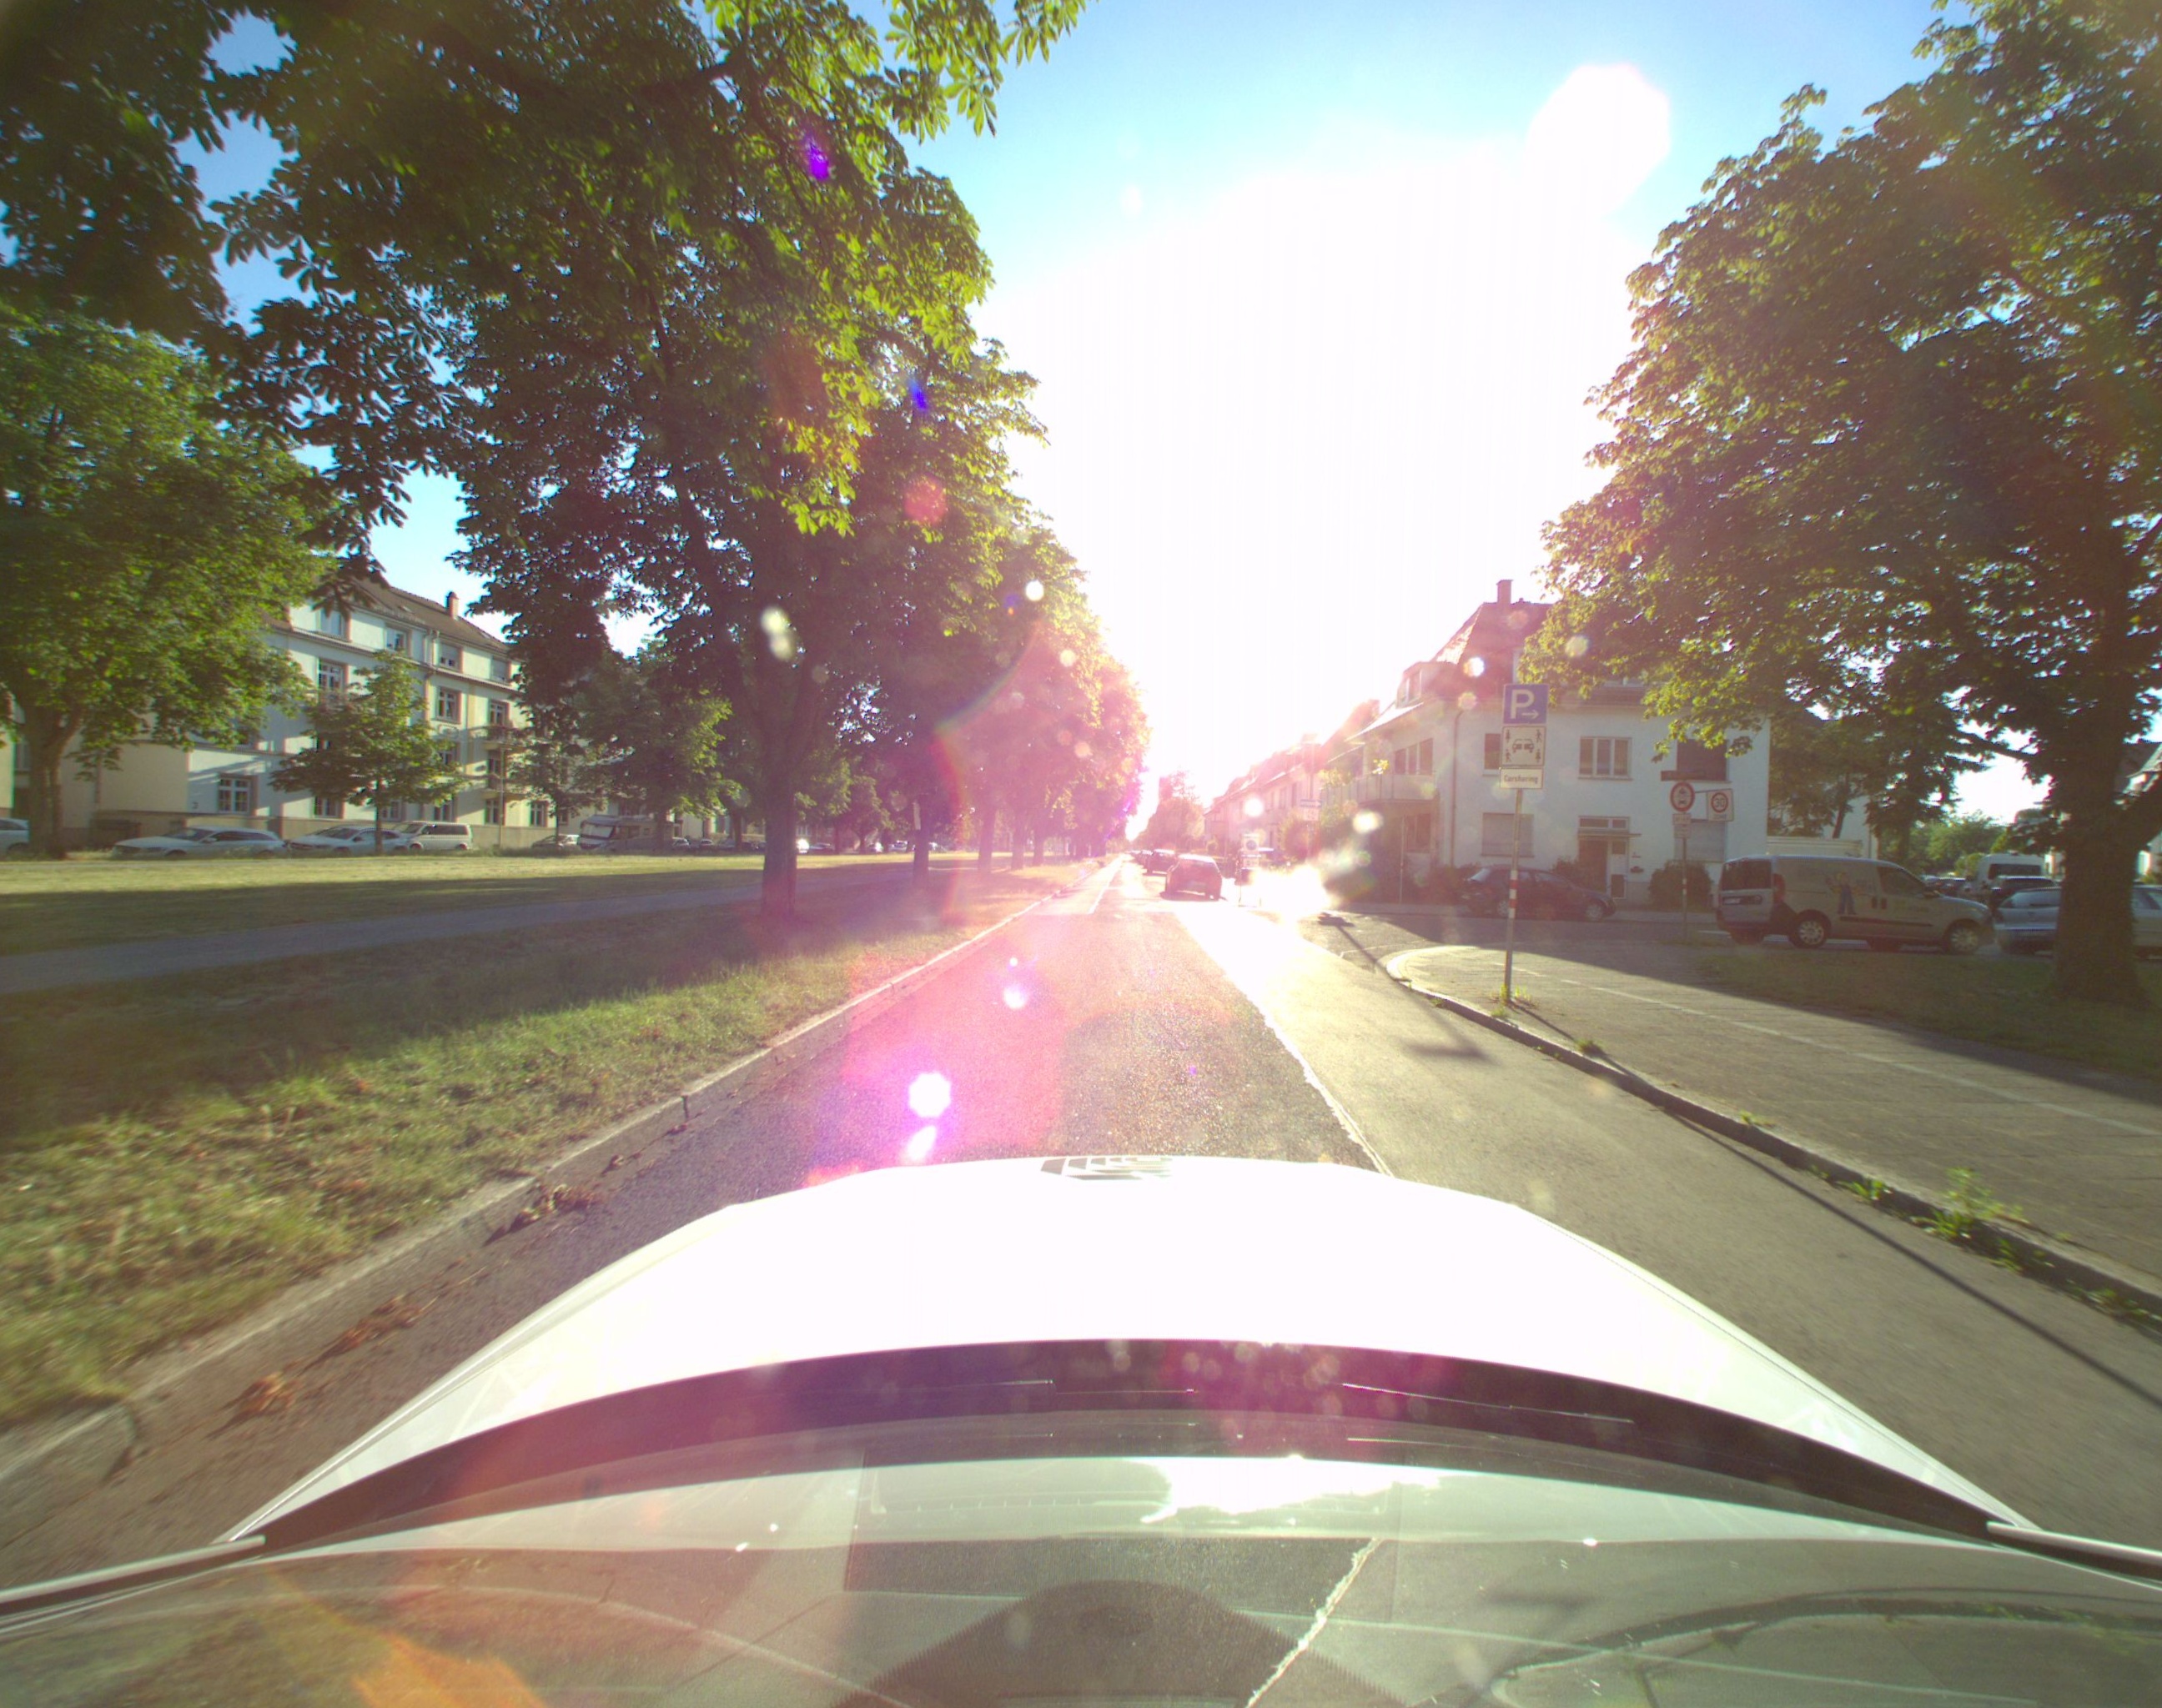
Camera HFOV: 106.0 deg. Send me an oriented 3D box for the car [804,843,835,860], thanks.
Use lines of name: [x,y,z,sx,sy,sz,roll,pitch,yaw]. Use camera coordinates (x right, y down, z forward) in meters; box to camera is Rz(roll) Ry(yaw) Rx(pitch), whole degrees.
car: [-29.228,-0.225,91.211,1.803,1.781,4.126,4,0,4]

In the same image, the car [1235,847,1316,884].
car: [10.633,0.630,44.691,3.976,1.823,1.758,1,-5,-2]

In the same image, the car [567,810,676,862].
car: [-31.091,-1.193,55.611,2.382,3.130,7.860,4,1,3]

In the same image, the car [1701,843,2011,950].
car: [15.374,0.803,16.378,4.224,1.875,2.032,2,0,2]

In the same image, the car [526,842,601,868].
car: [-36.585,0.104,57.699,1.984,1.659,4.576,4,0,5]

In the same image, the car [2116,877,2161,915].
car: [52.859,2.107,39.815,1.975,1.721,3.852,4,0,40]

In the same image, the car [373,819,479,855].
car: [-37.643,-0.947,46.971,1.986,1.950,4.880,2,0,2]

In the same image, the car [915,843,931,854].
car: [-27.460,-0.951,141.594,1.722,1.689,3.879,4,-1,1]

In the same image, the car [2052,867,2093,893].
car: [68.929,1.819,56.653,3.378,1.590,1.551,4,0,-42]

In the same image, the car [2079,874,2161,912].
car: [56.315,2.124,44.210,1.906,1.855,4.024,4,-1,40]

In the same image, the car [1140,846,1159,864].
car: [8.278,0.184,99.214,1.986,2.013,4.002,4,0,2]

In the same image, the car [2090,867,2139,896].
car: [81.309,2.160,64.114,4.021,2.013,1.976,4,0,-43]

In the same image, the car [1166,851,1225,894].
car: [4.105,0.633,29.814,1.702,1.359,4.206,4,0,3]

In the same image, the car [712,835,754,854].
car: [-34.754,-0.931,81.454,1.984,1.659,4.379,4,0,5]

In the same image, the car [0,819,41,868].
car: [-38.568,-0.425,27.327,1.984,1.659,4.005,4,0,5]

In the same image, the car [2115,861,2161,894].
car: [74.947,1.670,57.441,4.022,2.013,1.976,4,0,-45]

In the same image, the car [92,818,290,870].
car: [-32.713,-0.336,30.172,1.984,1.659,4.576,4,0,5]

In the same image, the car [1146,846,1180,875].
car: [5.566,0.399,55.597,1.986,1.781,4.003,4,1,2]

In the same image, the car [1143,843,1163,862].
car: [8.231,-0.157,93.524,1.986,2.013,4.002,4,0,2]

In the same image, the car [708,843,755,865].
car: [-30.422,0.024,71.071,1.871,1.674,4.319,4,0,4]

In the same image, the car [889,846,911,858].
car: [-27.022,-0.268,121.916,2.014,1.659,3.987,4,0,4]

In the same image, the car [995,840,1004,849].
car: [-20.860,-2.449,208.153,1.647,1.938,3.569,4,-1,2]

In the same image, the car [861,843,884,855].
car: [-32.684,-0.832,127.740,1.984,1.659,4.360,4,0,5]

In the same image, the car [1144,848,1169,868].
car: [6.788,0.365,73.698,1.986,1.653,4.002,4,0,2]

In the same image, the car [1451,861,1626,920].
car: [12.911,1.016,23.153,3.971,1.446,1.717,2,0,2]

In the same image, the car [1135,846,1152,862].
car: [8.714,-0.023,113.663,1.986,2.013,4.002,4,0,2]

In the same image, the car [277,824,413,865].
car: [-32.292,-0.419,35.919,1.789,1.554,4.421,4,1,1]

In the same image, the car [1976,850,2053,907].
car: [43.276,1.162,37.844,4.543,2.337,2.088,4,0,-43]

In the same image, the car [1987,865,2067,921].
car: [38.537,1.614,33.257,4.021,2.013,1.977,4,0,-42]

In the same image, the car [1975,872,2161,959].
car: [19.977,1.184,15.840,3.545,1.516,1.604,2,0,-3]
